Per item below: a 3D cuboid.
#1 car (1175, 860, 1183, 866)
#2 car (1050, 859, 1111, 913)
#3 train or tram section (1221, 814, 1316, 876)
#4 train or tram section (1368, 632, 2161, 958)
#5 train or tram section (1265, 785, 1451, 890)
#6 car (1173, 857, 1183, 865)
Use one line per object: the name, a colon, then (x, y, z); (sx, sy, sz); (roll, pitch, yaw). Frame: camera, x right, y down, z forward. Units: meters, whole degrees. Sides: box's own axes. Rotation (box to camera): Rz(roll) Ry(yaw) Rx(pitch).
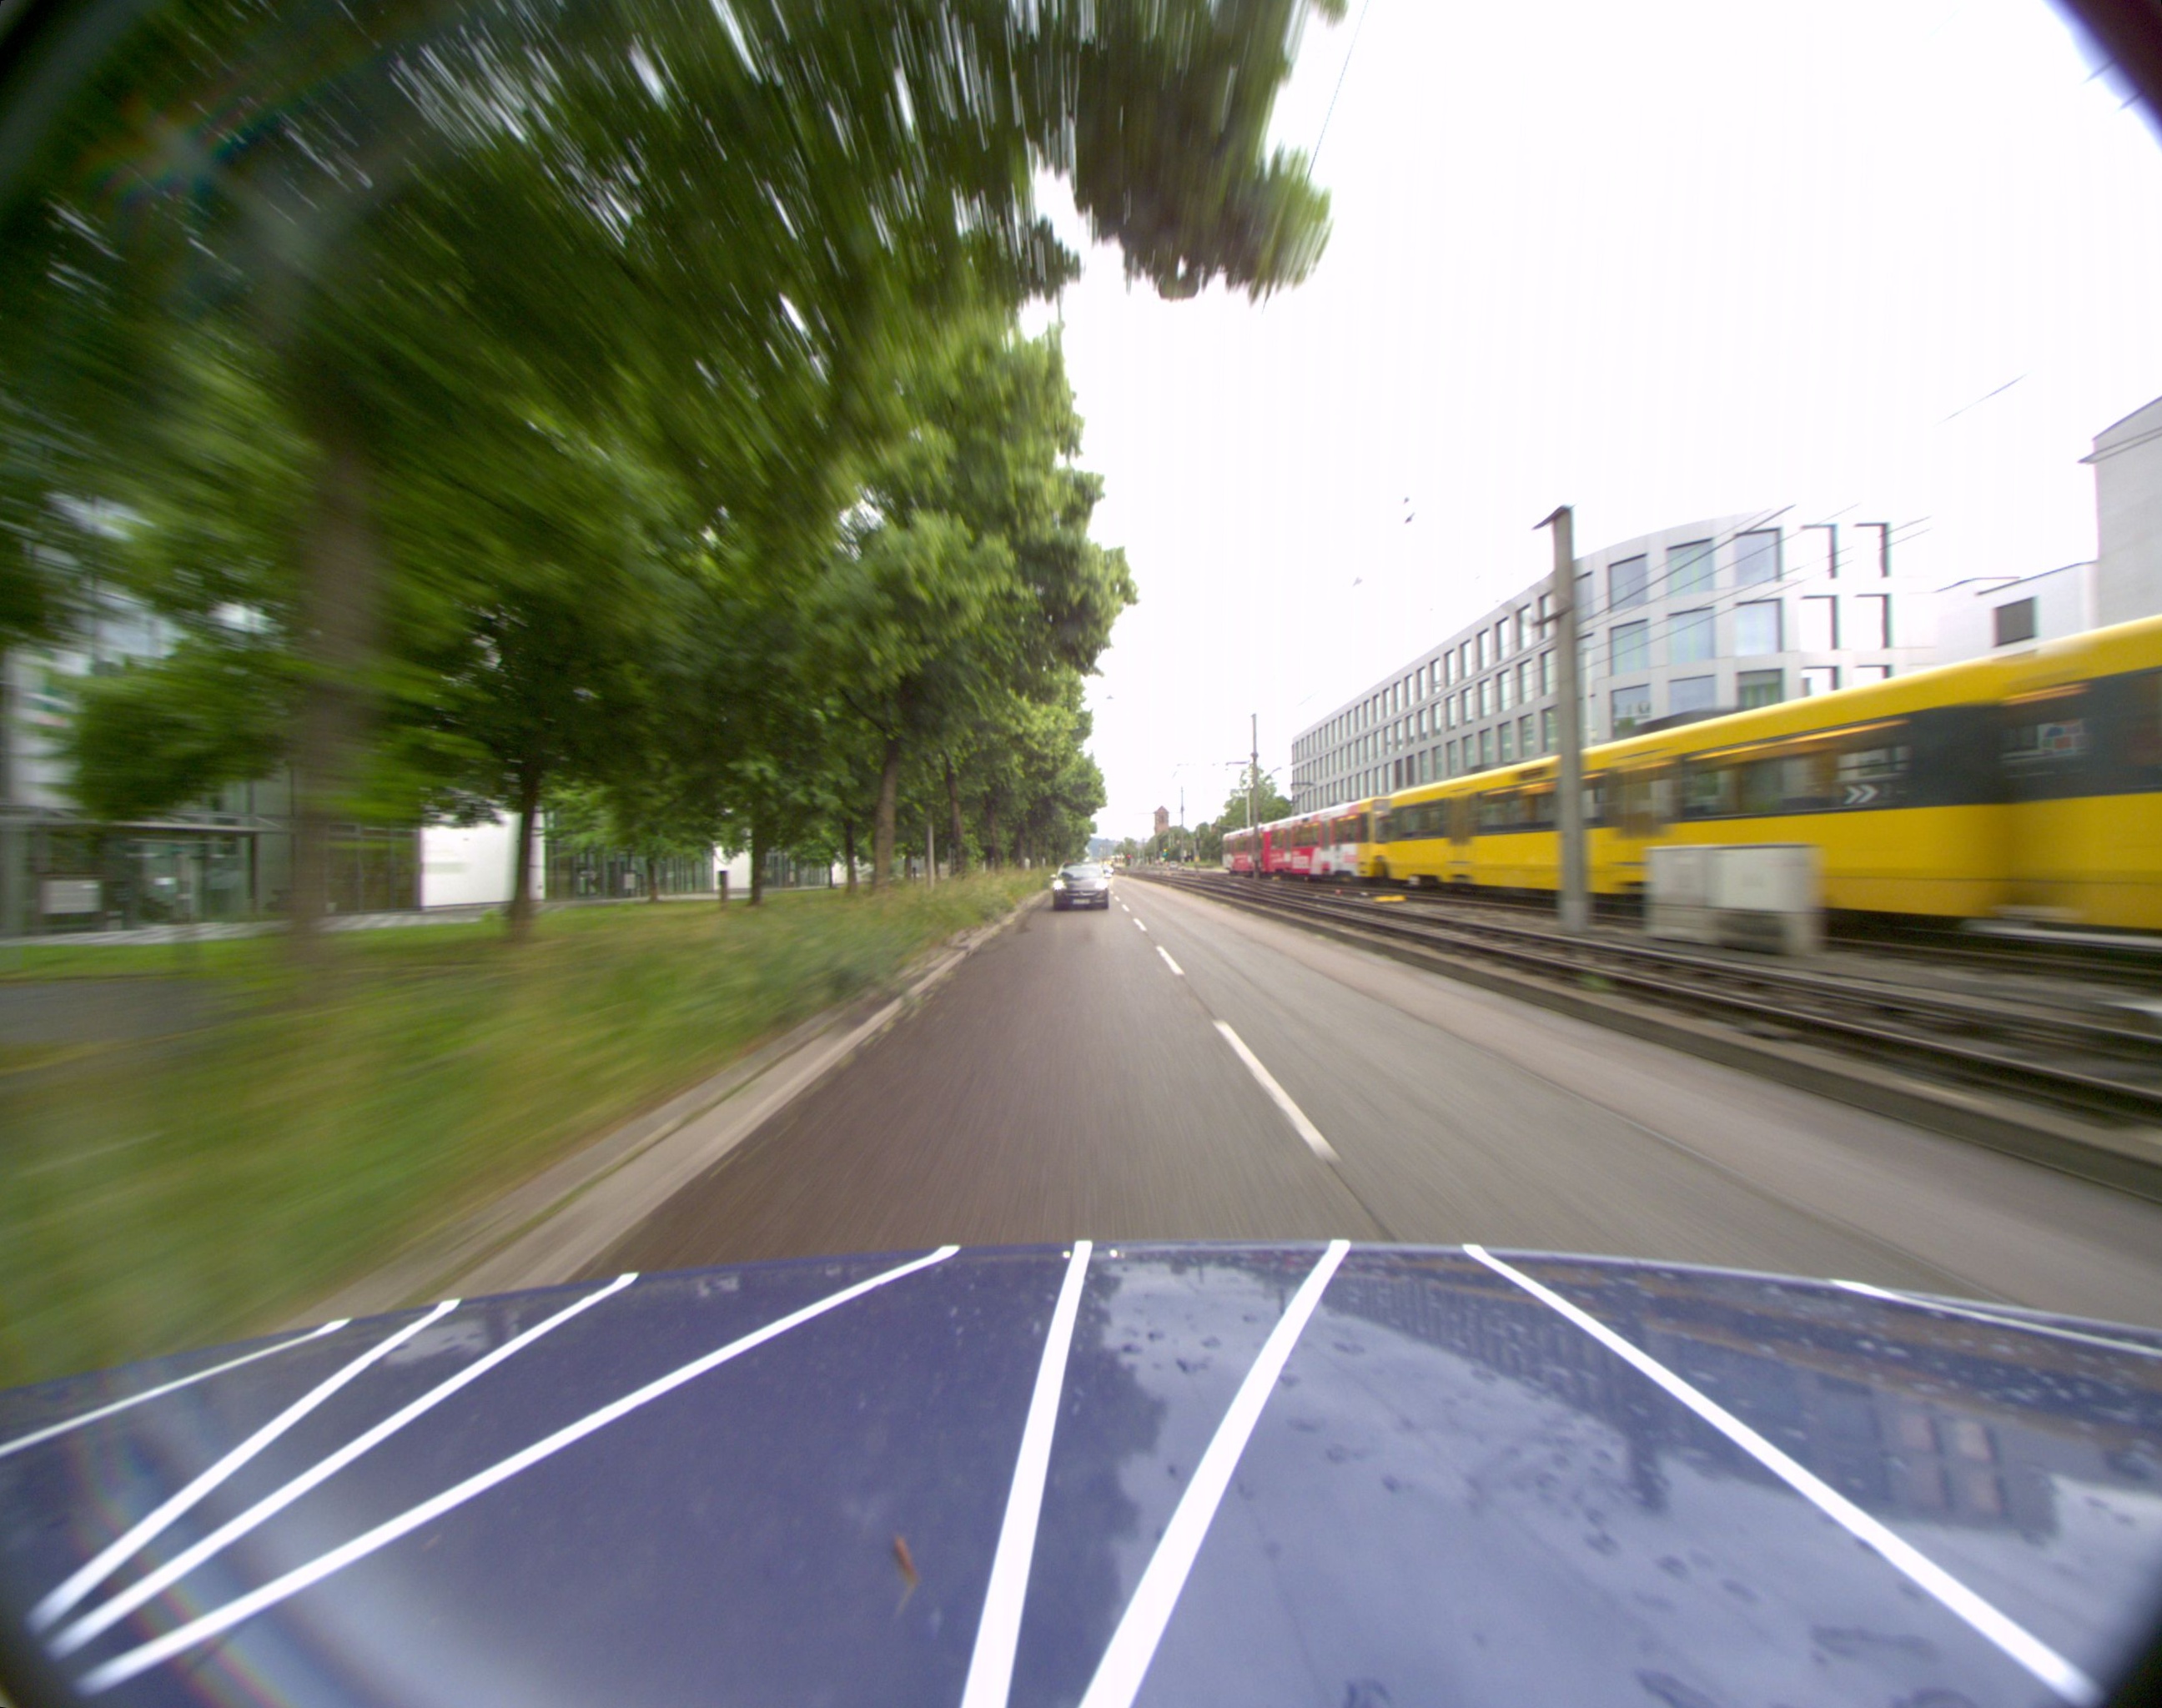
car: (27.465, 2.586, 213.038); (1.775, 1.540, 3.564); (-2, -1, 2)
car: (0.055, 0.967, 24.513); (1.698, 1.439, 4.420); (-3, 0, 2)
train or tram section: (13.270, -0.520, 56.077); (2.974, 3.788, 18.617); (-1, 0, 2)
train or tram section: (11.794, -0.655, 18.576); (2.974, 3.788, 19.101); (-1, 0, 2)
train or tram section: (12.521, -0.570, 37.480); (2.974, 3.788, 18.617); (-1, 0, 2)
car: (22.086, 1.621, 173.836); (1.812, 1.627, 3.564); (-2, -1, 1)
